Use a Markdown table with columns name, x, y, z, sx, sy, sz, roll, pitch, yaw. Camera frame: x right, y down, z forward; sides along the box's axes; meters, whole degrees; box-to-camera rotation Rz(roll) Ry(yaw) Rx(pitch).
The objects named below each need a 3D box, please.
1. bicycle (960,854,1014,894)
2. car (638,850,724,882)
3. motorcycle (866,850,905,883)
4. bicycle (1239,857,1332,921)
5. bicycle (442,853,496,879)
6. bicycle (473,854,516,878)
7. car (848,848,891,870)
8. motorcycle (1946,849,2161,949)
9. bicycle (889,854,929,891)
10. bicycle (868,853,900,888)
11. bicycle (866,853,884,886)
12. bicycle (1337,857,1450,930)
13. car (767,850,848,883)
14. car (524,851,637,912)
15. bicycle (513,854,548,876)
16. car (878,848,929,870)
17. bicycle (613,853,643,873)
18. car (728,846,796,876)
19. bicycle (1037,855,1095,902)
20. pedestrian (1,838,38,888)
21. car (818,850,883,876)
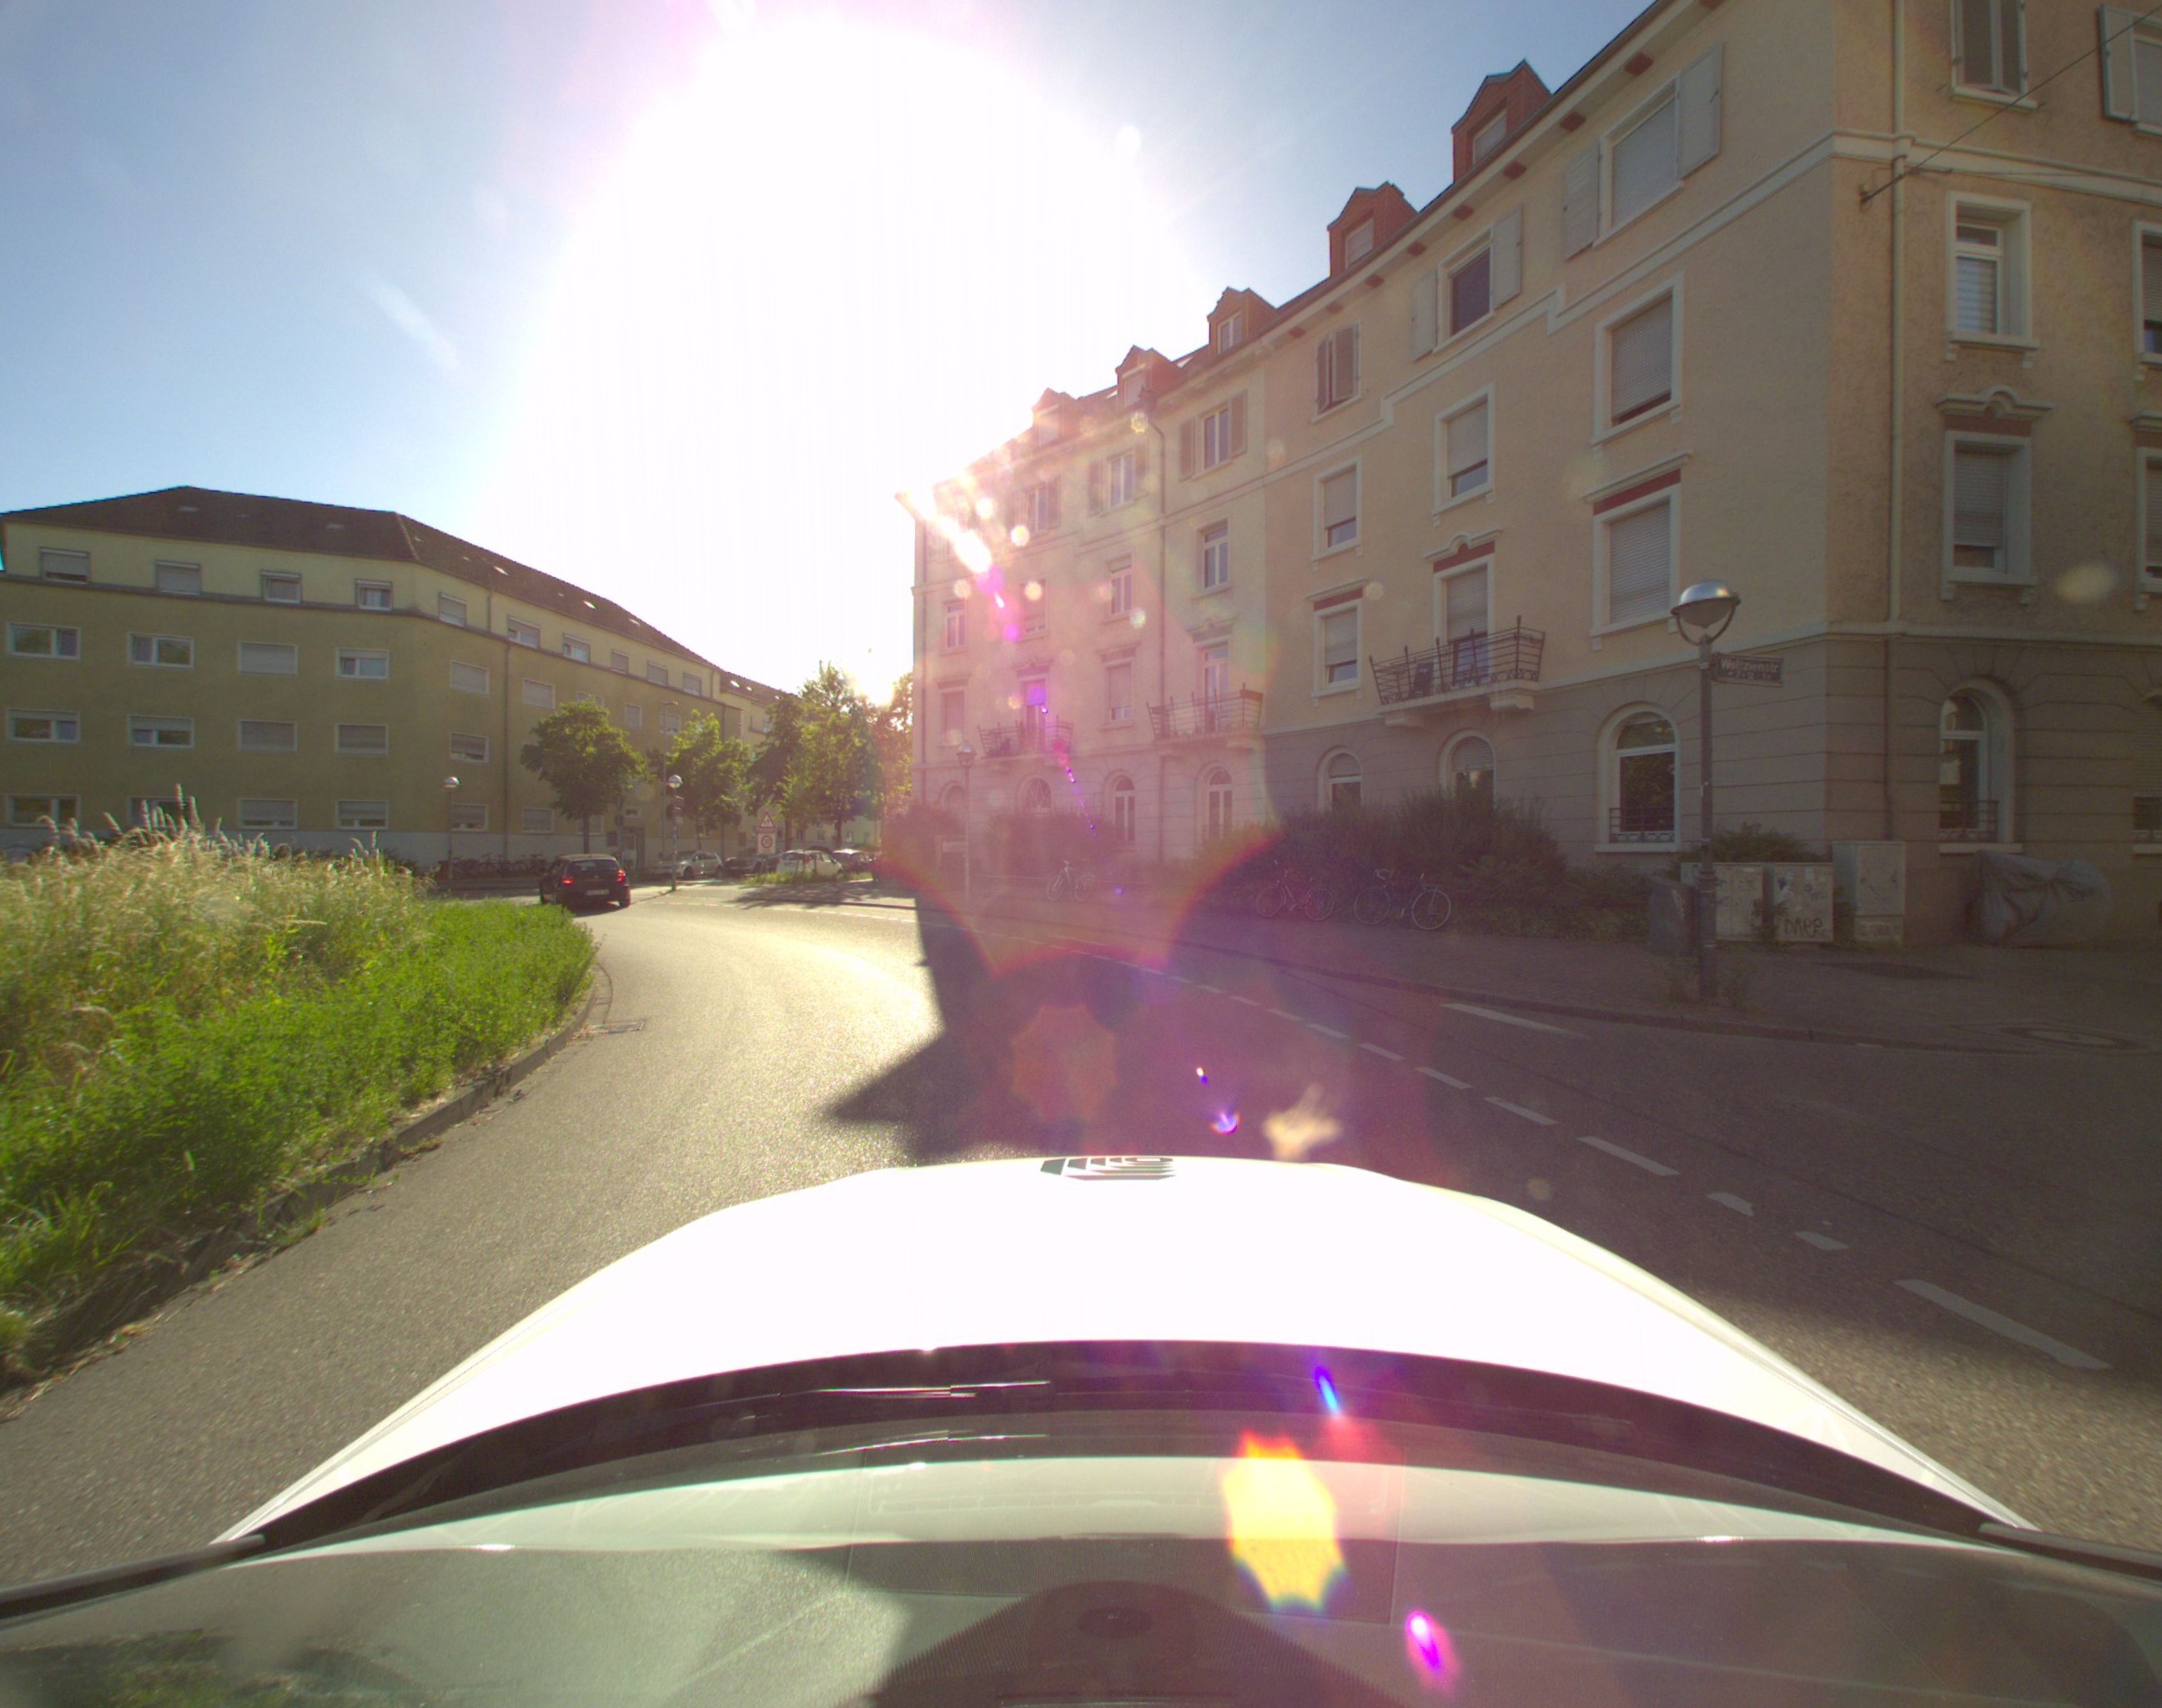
| name | x | y | z | sx | sy | sz | roll | pitch | yaw |
| --- | --- | --- | --- | --- | --- | --- | --- | --- | --- |
| bicycle | -2.763 | 0.569 | 24.124 | 0.494 | 1.107 | 1.693 | 0 | 1 | 42 |
| car | -19.042 | 0.541 | 38.988 | 1.789 | 1.411 | 4.007 | -1 | 0 | 6 |
| motorcycle | -7.728 | 0.482 | 32.237 | 0.880 | 1.191 | 1.495 | -2 | 0 | 11 |
| bicycle | 3.721 | 0.613 | 14.919 | 0.505 | 1.088 | 1.667 | -3 | 2 | -40 |
| bicycle | -26.328 | 0.503 | 35.056 | 0.494 | 1.107 | 1.811 | 0 | 0 | 41 |
| bicycle | -26.302 | 0.532 | 36.540 | 0.494 | 1.026 | 1.459 | 0 | 0 | 41 |
| car | -15.610 | 0.335 | 60.293 | 1.785 | 1.576 | 4.007 | -1 | 0 | 6 |
| motorcycle | 12.928 | 0.558 | 10.764 | 2.144 | 1.220 | 0.941 | 0 | 2 | -6 |
| bicycle | -5.439 | 0.559 | 25.745 | 0.502 | 1.107 | 1.780 | -1 | 1 | -37 |
| bicycle | -6.604 | 0.538 | 27.251 | 0.502 | 1.107 | 1.782 | -1 | 1 | -31 |
| bicycle | -7.399 | 0.532 | 29.353 | 0.499 | 1.107 | 1.943 | -1 | 1 | -11 |
| bicycle | 5.053 | 0.611 | 13.268 | 0.505 | 1.088 | 1.667 | -3 | 2 | -40 |
| car | -12.389 | 0.530 | 37.132 | 1.783 | 1.413 | 4.011 | 0 | 0 | 10 |
| car | -13.549 | 0.662 | 21.959 | 1.881 | 1.419 | 3.952 | -2 | 2 | -42 |
| bicycle | -25.884 | 0.515 | 38.329 | 0.496 | 1.026 | 1.453 | 0 | 0 | 8 |
| car | -10.518 | 0.282 | 48.516 | 1.784 | 1.255 | 3.728 | -1 | 0 | 8 |
| bicycle | -24.707 | 0.488 | 44.441 | 0.494 | 1.026 | 1.457 | 0 | 0 | 21 |
| car | -17.532 | 0.353 | 44.991 | 1.785 | 1.576 | 4.007 | -1 | 0 | 6 |
| bicycle | -0.389 | 0.577 | 19.861 | 0.505 | 1.088 | 1.667 | -2 | 2 | -38 |
| pedestrian | -33.101 | 0.256 | 25.405 | 0.688 | 1.523 | 0.654 | 0 | 2 | 39 |
| car | -11.760 | 0.431 | 41.768 | 1.784 | 1.255 | 3.728 | -1 | 0 | 8 |
